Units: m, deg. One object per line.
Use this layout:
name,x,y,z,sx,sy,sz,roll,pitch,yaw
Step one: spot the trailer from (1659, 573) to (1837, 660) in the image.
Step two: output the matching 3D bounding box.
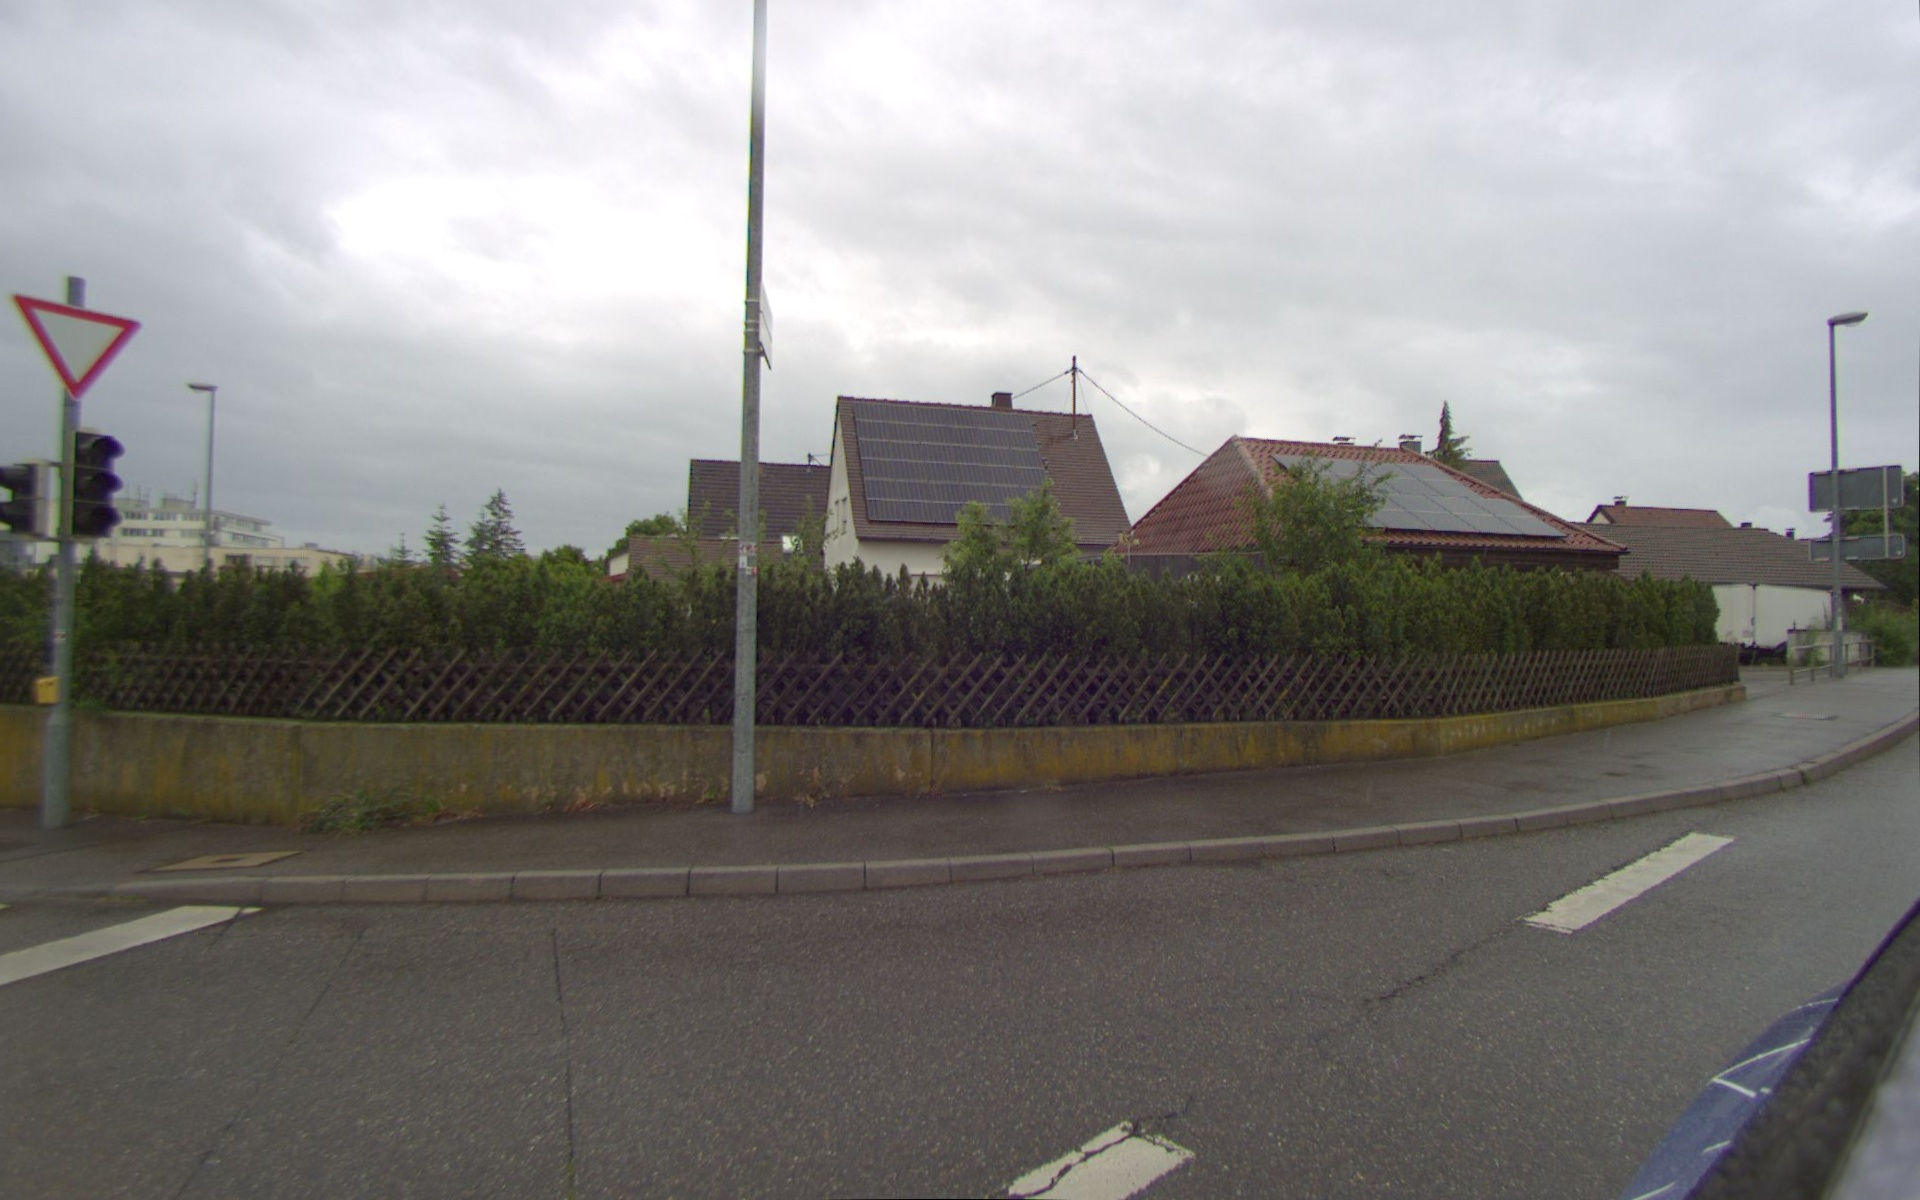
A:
trailer,23.915,0.505,30.740,4.605,2.550,1.652,0,-2,-13
